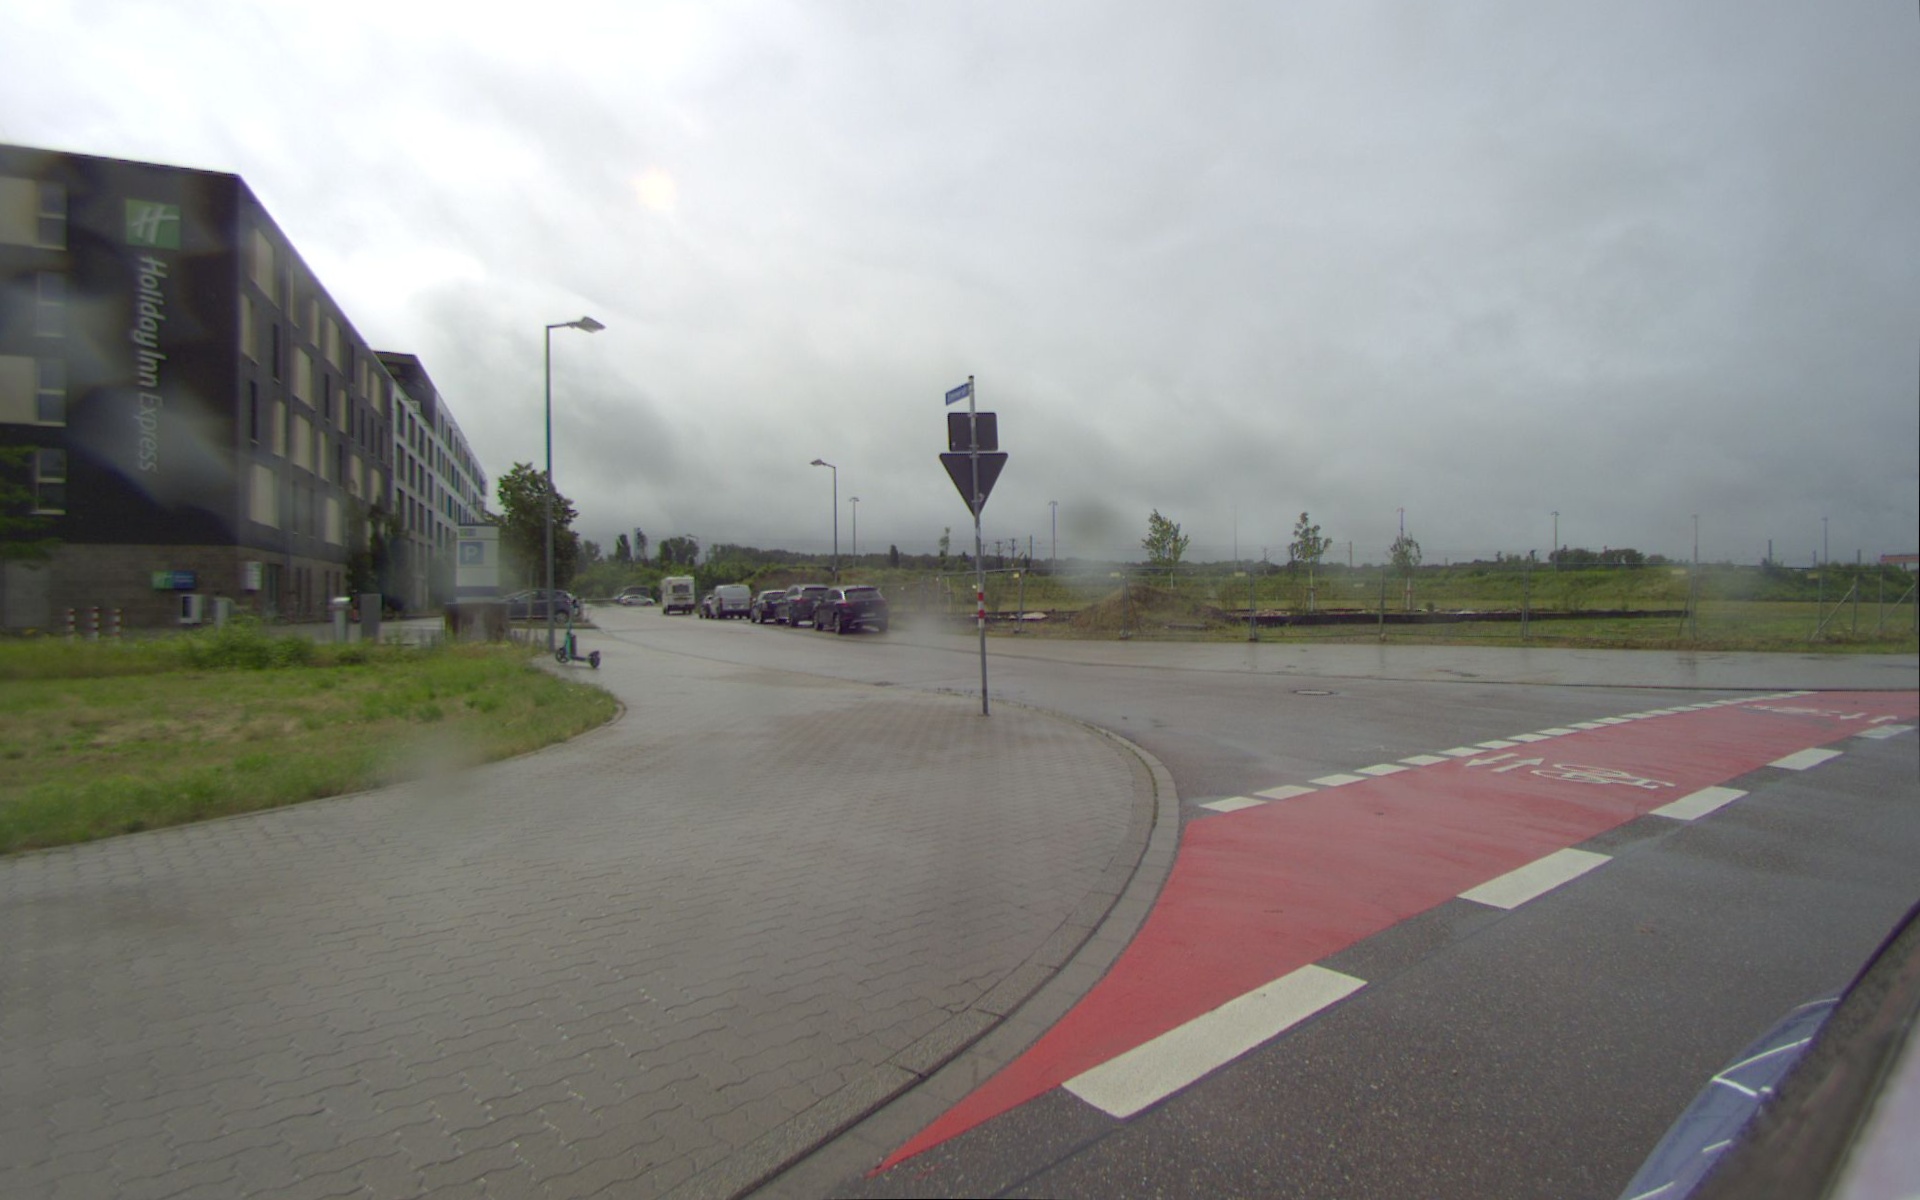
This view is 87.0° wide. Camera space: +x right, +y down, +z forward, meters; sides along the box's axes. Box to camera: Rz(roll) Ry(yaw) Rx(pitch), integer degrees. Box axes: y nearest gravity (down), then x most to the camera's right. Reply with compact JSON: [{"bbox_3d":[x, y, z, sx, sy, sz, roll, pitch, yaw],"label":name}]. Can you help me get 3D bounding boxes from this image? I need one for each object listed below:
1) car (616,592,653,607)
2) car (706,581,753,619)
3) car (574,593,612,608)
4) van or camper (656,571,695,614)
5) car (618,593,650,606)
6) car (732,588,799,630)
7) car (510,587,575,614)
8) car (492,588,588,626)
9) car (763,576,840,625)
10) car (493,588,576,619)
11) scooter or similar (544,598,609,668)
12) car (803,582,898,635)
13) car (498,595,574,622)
[{"bbox_3d":[-39.881,-0.007,124.065,4.277,1.710,1.802,0,-3,-20],"label":"car"},{"bbox_3d":[-13.008,0.037,56.862,1.958,1.796,4.342,0,-5,-21],"label":"car"},{"bbox_3d":[-44.389,0.023,122.365,4.277,1.710,1.802,0,-3,-20],"label":"car"},{"bbox_3d":[-24.039,-0.581,85.363,2.477,3.244,6.810,0,-3,-22],"label":"van or camper"},{"bbox_3d":[-44.809,-0.042,139.248,3.919,1.750,2.002,0,0,-29],"label":"car"},{"bbox_3d":[-8.721,0.443,45.103,1.959,1.663,4.004,0,-3,-26],"label":"car"},{"bbox_3d":[-26.568,0.041,64.453,3.762,1.636,1.788,0,-3,-23],"label":"car"},{"bbox_3d":[-18.121,0.311,43.738,3.762,1.548,1.788,0,-3,-23],"label":"car"},{"bbox_3d":[-6.390,0.066,40.463,1.959,1.750,4.004,0,-3,-26],"label":"car"},{"bbox_3d":[-21.144,0.176,50.379,3.728,1.414,1.771,0,-3,-23],"label":"car"},{"bbox_3d":[-6.972,0.579,18.390,1.277,1.202,0.496,2,-1,38],"label":"scooter or similar"},{"bbox_3d":[-3.845,0.262,34.840,1.959,1.638,4.006,-3,1,-26],"label":"car"},{"bbox_3d":[-23.102,0.461,55.142,3.762,1.414,1.788,0,-3,-23],"label":"car"}]
